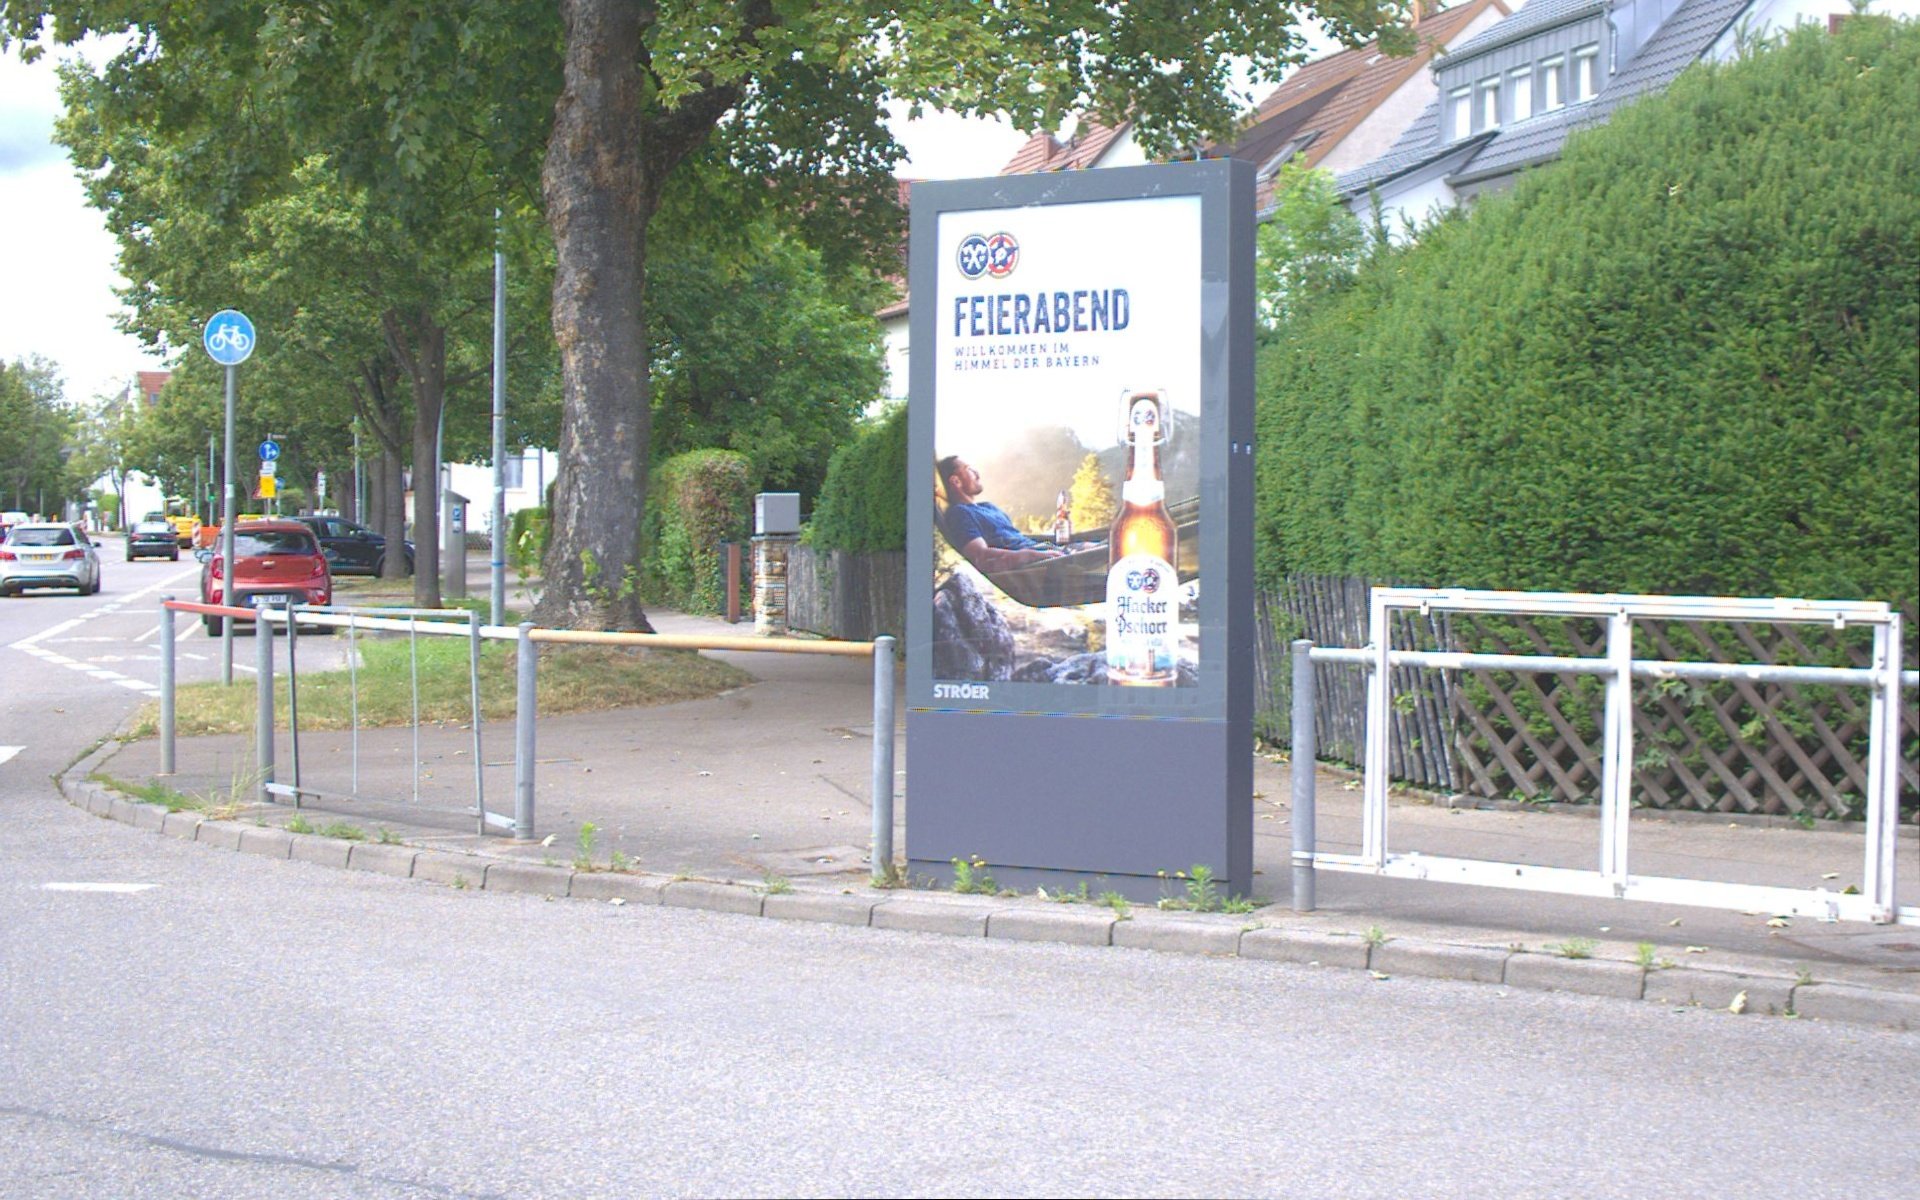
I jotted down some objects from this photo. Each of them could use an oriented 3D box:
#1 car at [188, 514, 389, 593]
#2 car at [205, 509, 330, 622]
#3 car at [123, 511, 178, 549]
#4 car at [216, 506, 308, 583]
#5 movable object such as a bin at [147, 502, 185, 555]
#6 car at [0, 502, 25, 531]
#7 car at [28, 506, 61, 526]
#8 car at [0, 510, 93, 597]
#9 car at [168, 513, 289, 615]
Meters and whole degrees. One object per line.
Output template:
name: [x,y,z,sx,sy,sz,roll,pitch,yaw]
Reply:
car: [-14.936,-1.053,76.429,4.216,1.632,1.694,-2,2,-16]
car: [-9.245,-0.464,45.958,1.565,1.450,3.669,0,1,-11]
car: [-29.279,-2.543,124.291,1.809,1.370,3.694,-1,2,-15]
car: [-13.699,-1.116,67.371,1.652,1.411,4.178,-2,2,-12]
movable object such as a bin: [-38.819,-3.528,168.047,1.768,2.565,3.741,0,2,-13]
car: [-60.944,-5.337,219.566,1.965,1.824,4.820,-1,2,-11]
car: [-65.452,-6.004,245.841,1.809,1.410,3.694,-1,2,-22]
car: [-18.623,-0.959,69.758,1.905,1.679,3.741,-1,2,-13]
car: [-10.938,-0.570,51.343,1.652,1.411,4.178,-2,2,-12]
